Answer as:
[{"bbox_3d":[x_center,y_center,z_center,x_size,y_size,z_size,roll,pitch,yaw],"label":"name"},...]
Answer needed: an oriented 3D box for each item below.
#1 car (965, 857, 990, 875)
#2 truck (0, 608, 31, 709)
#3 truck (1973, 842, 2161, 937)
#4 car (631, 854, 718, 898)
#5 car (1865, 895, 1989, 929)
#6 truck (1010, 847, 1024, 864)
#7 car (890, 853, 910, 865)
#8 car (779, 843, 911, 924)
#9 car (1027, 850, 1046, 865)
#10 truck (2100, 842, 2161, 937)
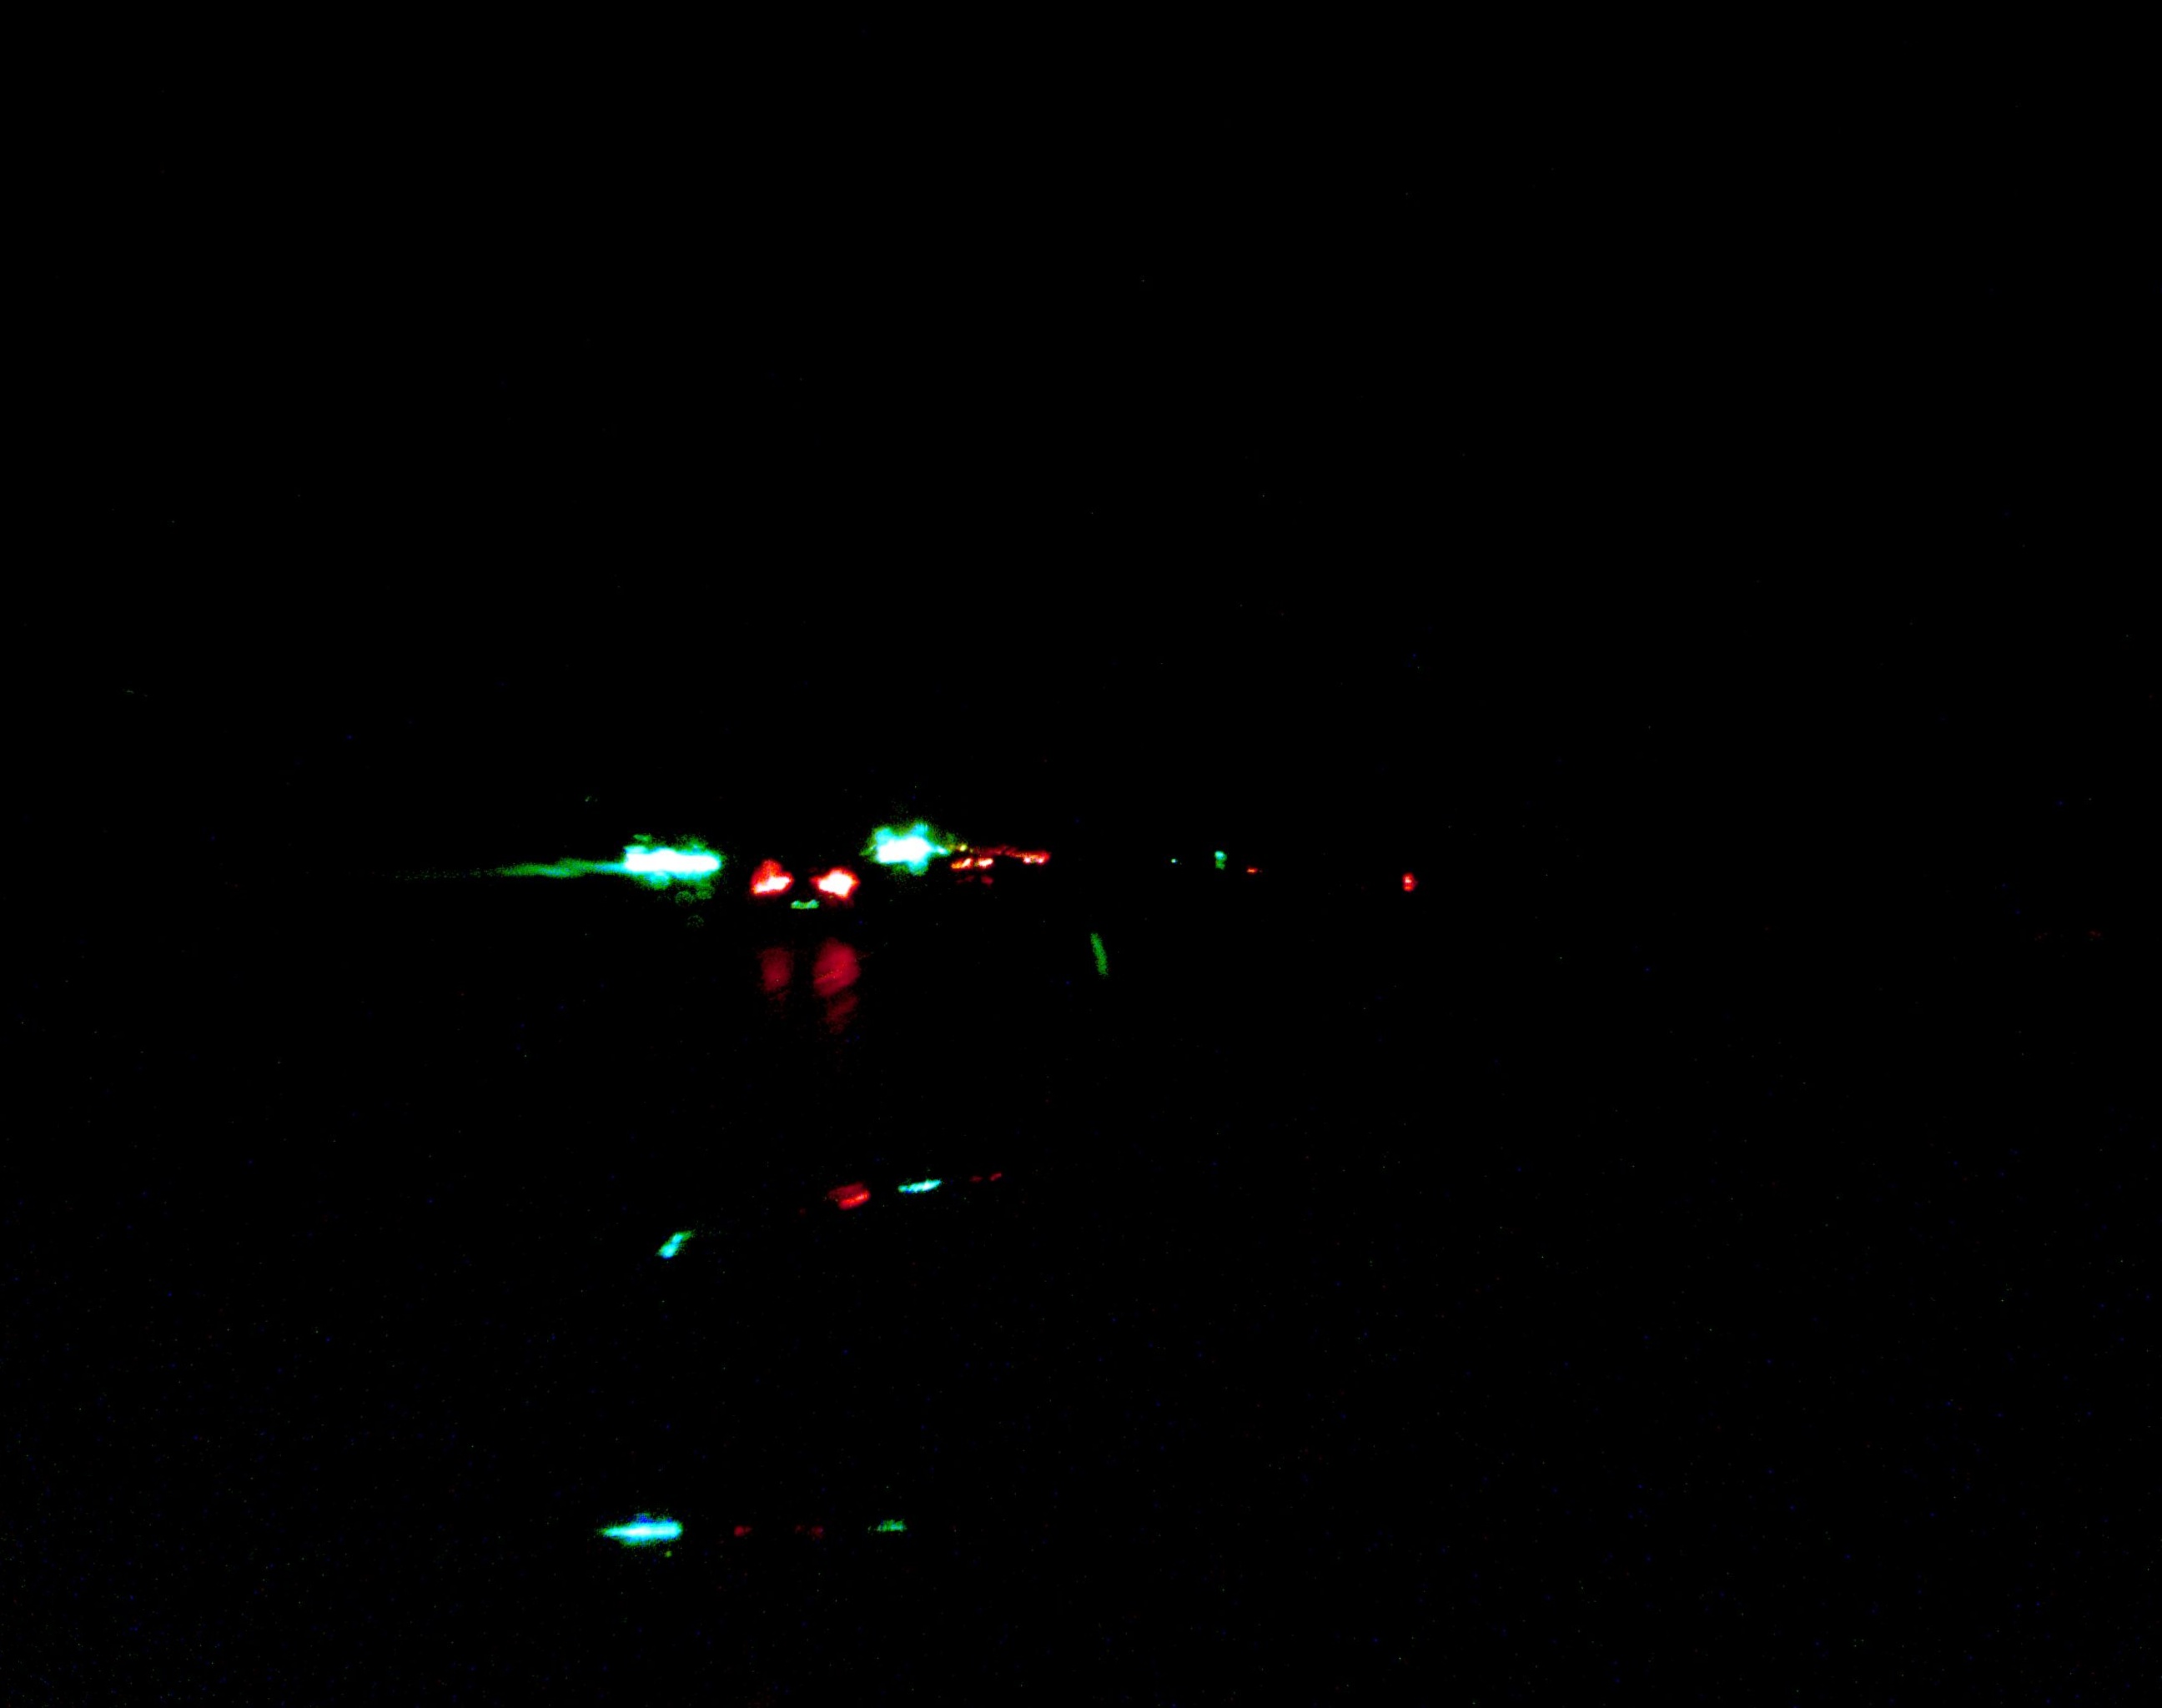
[{"bbox_3d":[-7.402,0.854,58.577,1.660,1.236,3.754,0,-1,-5],"label":"car"},{"bbox_3d":[-42.786,-7.987,28.037,2.418,3.780,11.157,0,-1,-20],"label":"truck"},{"bbox_3d":[47.924,1.637,39.234,2.776,4.223,6.134,0,-1,-30],"label":"truck"},{"bbox_3d":[-14.663,0.757,29.593,1.572,1.492,3.990,0,0,-7],"label":"car"},{"bbox_3d":[42.207,2.872,40.754,1.715,1.294,3.961,0,1,-23],"label":"car"},{"bbox_3d":[-12.542,0.306,159.191,1.994,3.043,6.442,0,-1,-10],"label":"truck"},{"bbox_3d":[-23.737,0.632,106.927,1.768,1.632,4.697,0,0,-3],"label":"car"},{"bbox_3d":[-5.222,0.598,18.704,1.854,1.541,4.744,3,0,-4],"label":"car"},{"bbox_3d":[-4.366,0.329,80.084,1.797,1.487,3.997,0,0,-2],"label":"car"},{"bbox_3d":[51.827,1.471,32.441,2.776,4.223,13.693,0,-1,-30],"label":"truck"}]
